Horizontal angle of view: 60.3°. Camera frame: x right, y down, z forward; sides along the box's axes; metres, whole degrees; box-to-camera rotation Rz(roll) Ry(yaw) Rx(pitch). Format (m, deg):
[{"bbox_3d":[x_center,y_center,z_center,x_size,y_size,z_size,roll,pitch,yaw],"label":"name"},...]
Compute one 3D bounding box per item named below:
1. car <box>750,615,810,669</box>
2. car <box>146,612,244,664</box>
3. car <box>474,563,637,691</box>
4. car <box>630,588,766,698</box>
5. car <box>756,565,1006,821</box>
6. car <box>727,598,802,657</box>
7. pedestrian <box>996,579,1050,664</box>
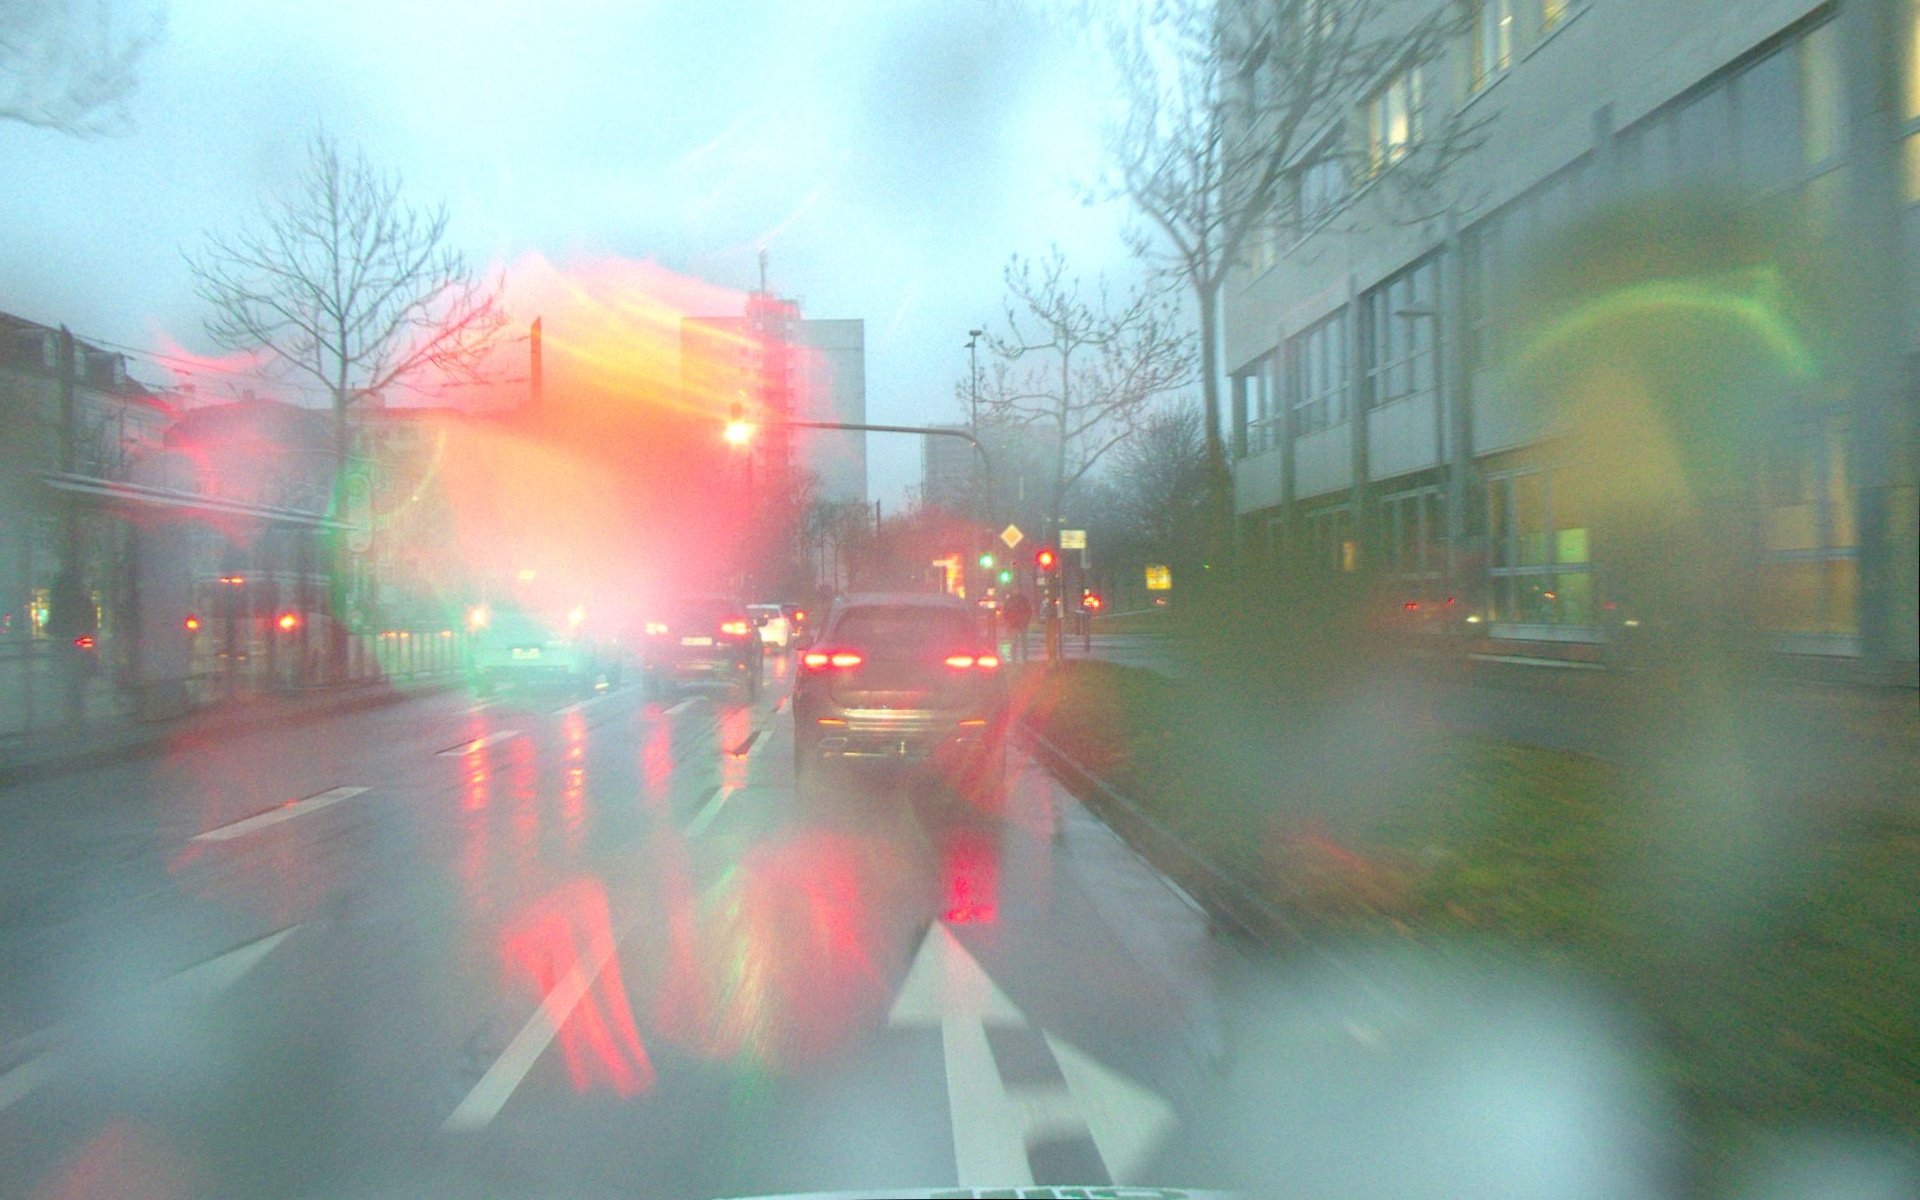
[{"bbox_3d":[-7.071,1.637,65.232,1.953,2.049,3.999,0,-1,-1],"label":"car"},{"bbox_3d":[-25.307,1.254,54.801,1.645,1.641,3.336,0,-1,0],"label":"car"},{"bbox_3d":[-7.058,0.457,29.341,1.913,2.069,4.880,0,0,-3],"label":"car"},{"bbox_3d":[-4.430,0.744,28.584,1.954,1.742,4.320,1,-1,-4],"label":"car"},{"bbox_3d":[-0.727,0.784,15.082,1.954,2.010,4.065,0,-1,-3],"label":"car"},{"bbox_3d":[-5.832,0.839,49.752,1.954,1.671,4.019,0,-1,-3],"label":"car"},{"bbox_3d":[1.394,0.463,36.418,0.780,1.780,0.861,-5,0,24],"label":"pedestrian"}]
